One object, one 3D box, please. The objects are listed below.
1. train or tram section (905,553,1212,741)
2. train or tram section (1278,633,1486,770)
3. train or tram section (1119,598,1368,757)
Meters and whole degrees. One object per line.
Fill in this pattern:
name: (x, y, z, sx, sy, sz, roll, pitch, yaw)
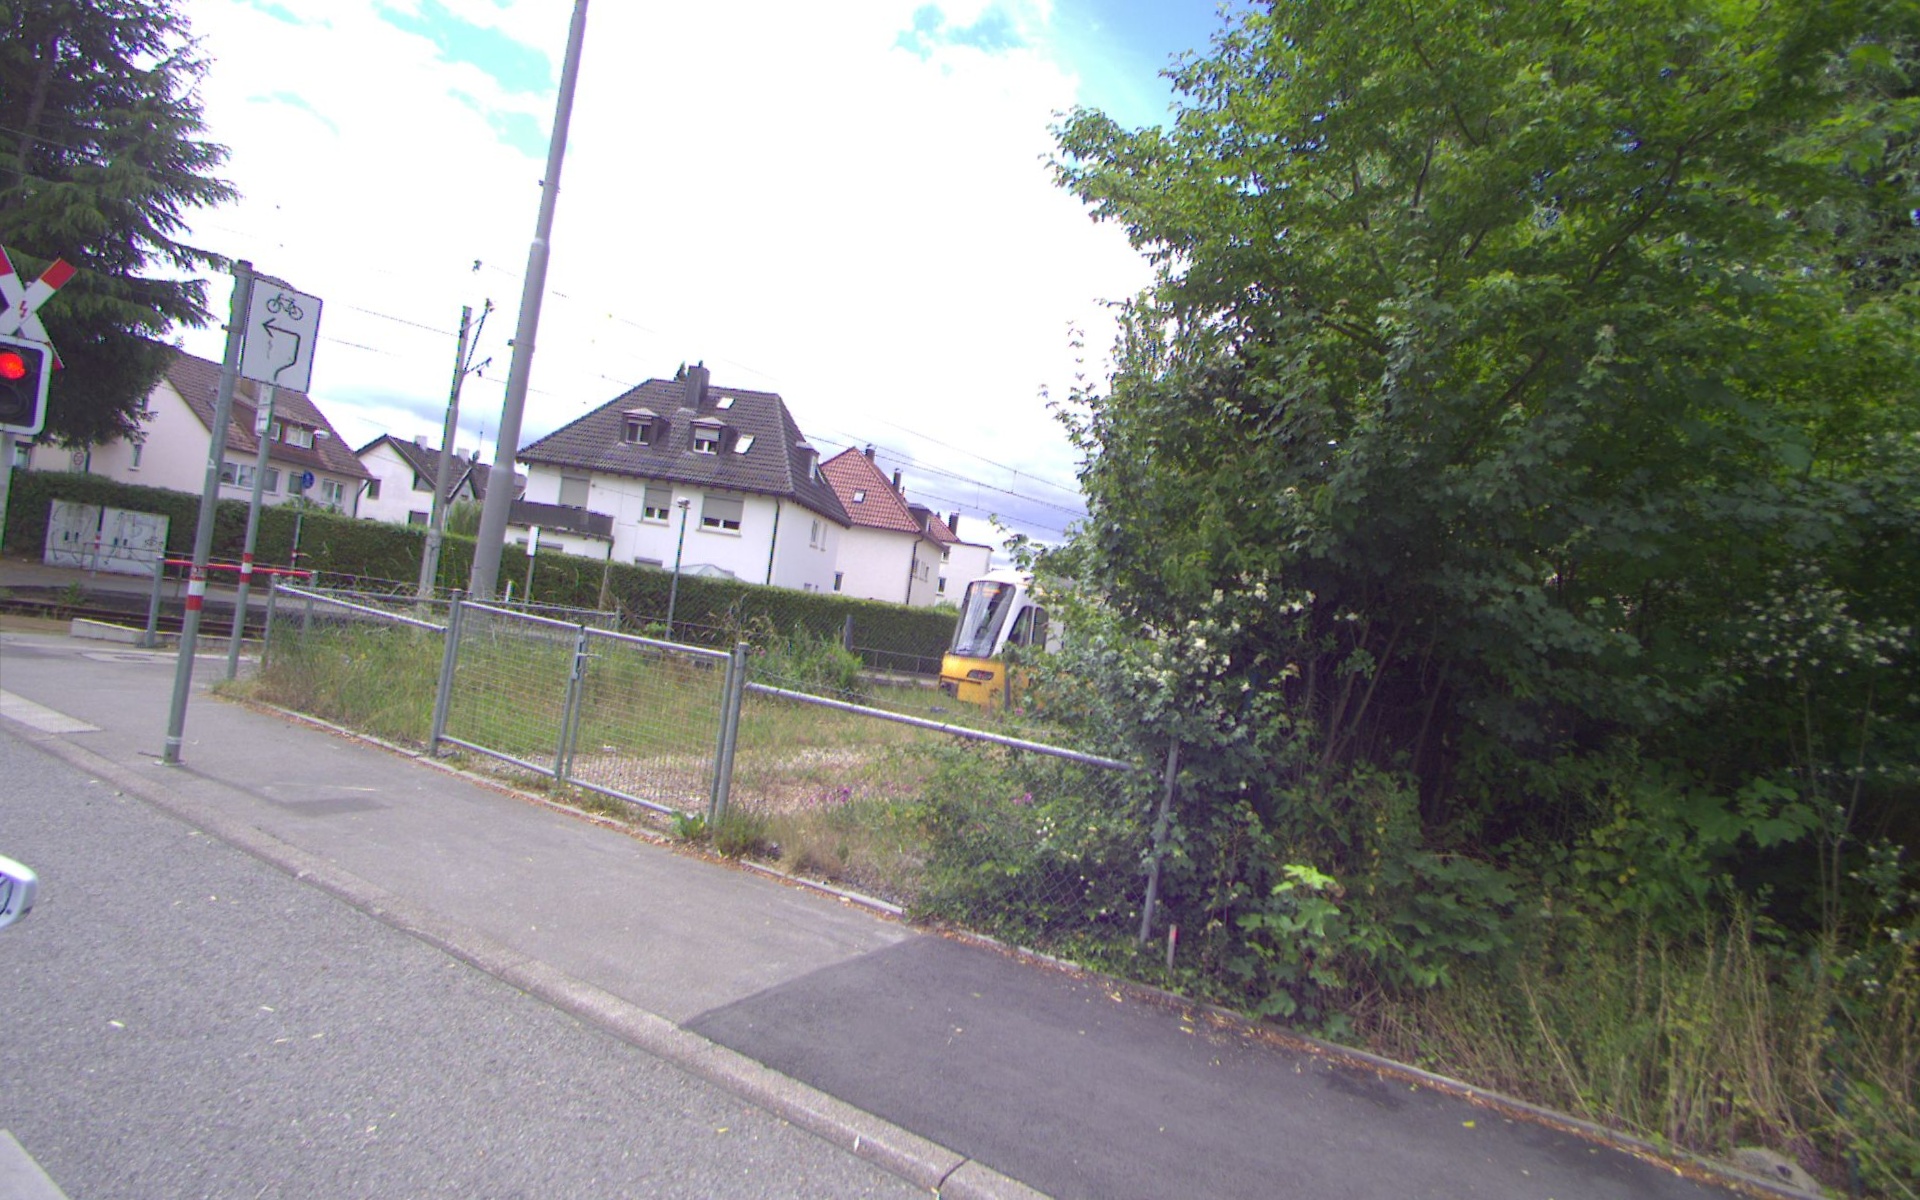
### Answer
train or tram section: (2.738, 1.314, 26.182, 7.655, 3.762, 2.842, 10, -3, -36)
train or tram section: (14.863, 3.630, 35.178, 7.655, 3.762, 2.842, 10, -3, -36)
train or tram section: (8.798, 2.454, 30.677, 7.655, 3.762, 2.842, 10, -3, -36)
